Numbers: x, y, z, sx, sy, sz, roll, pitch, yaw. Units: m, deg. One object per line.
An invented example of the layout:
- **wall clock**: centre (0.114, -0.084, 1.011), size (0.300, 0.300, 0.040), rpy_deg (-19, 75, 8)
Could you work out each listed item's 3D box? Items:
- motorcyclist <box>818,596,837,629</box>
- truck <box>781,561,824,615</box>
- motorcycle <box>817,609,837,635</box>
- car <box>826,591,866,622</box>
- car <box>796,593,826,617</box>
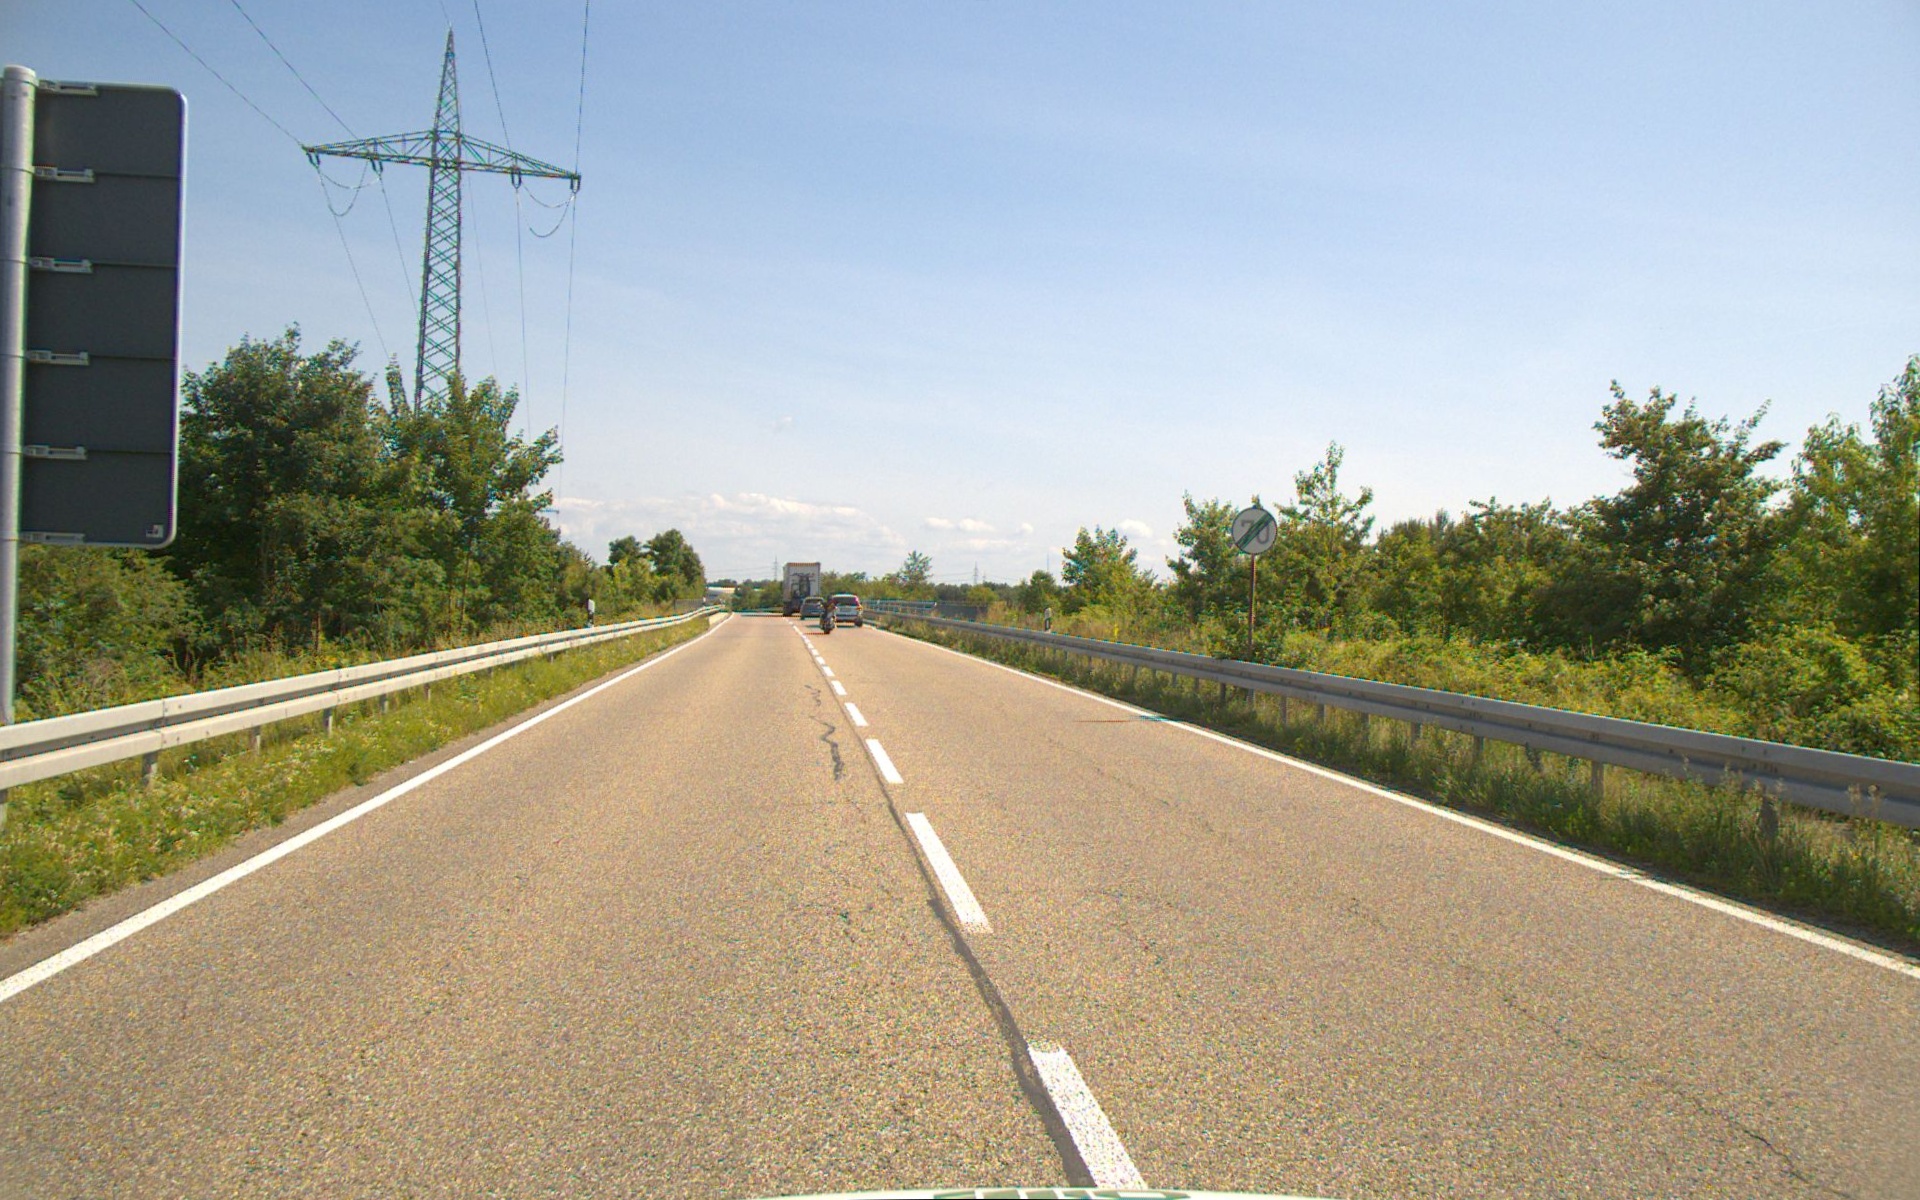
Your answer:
- **motorcyclist**: centre (-5.435, 0.514, 67.740), size (0.765, 1.349, 0.812), rpy_deg (1, 0, -6)
- **truck**: centre (-12.418, -0.901, 130.318), size (3.179, 4.048, 9.432), rpy_deg (1, 0, -5)
- **motorcycle**: centre (-5.450, 0.883, 67.719), size (0.765, 0.992, 2.359), rpy_deg (1, 0, -5)
- **car**: centre (-5.690, 0.312, 82.294), size (1.790, 1.477, 3.995), rpy_deg (1, 0, -6)
- **car**: centre (-9.591, 0.334, 106.387), size (1.830, 1.445, 3.995), rpy_deg (1, 0, -6)
